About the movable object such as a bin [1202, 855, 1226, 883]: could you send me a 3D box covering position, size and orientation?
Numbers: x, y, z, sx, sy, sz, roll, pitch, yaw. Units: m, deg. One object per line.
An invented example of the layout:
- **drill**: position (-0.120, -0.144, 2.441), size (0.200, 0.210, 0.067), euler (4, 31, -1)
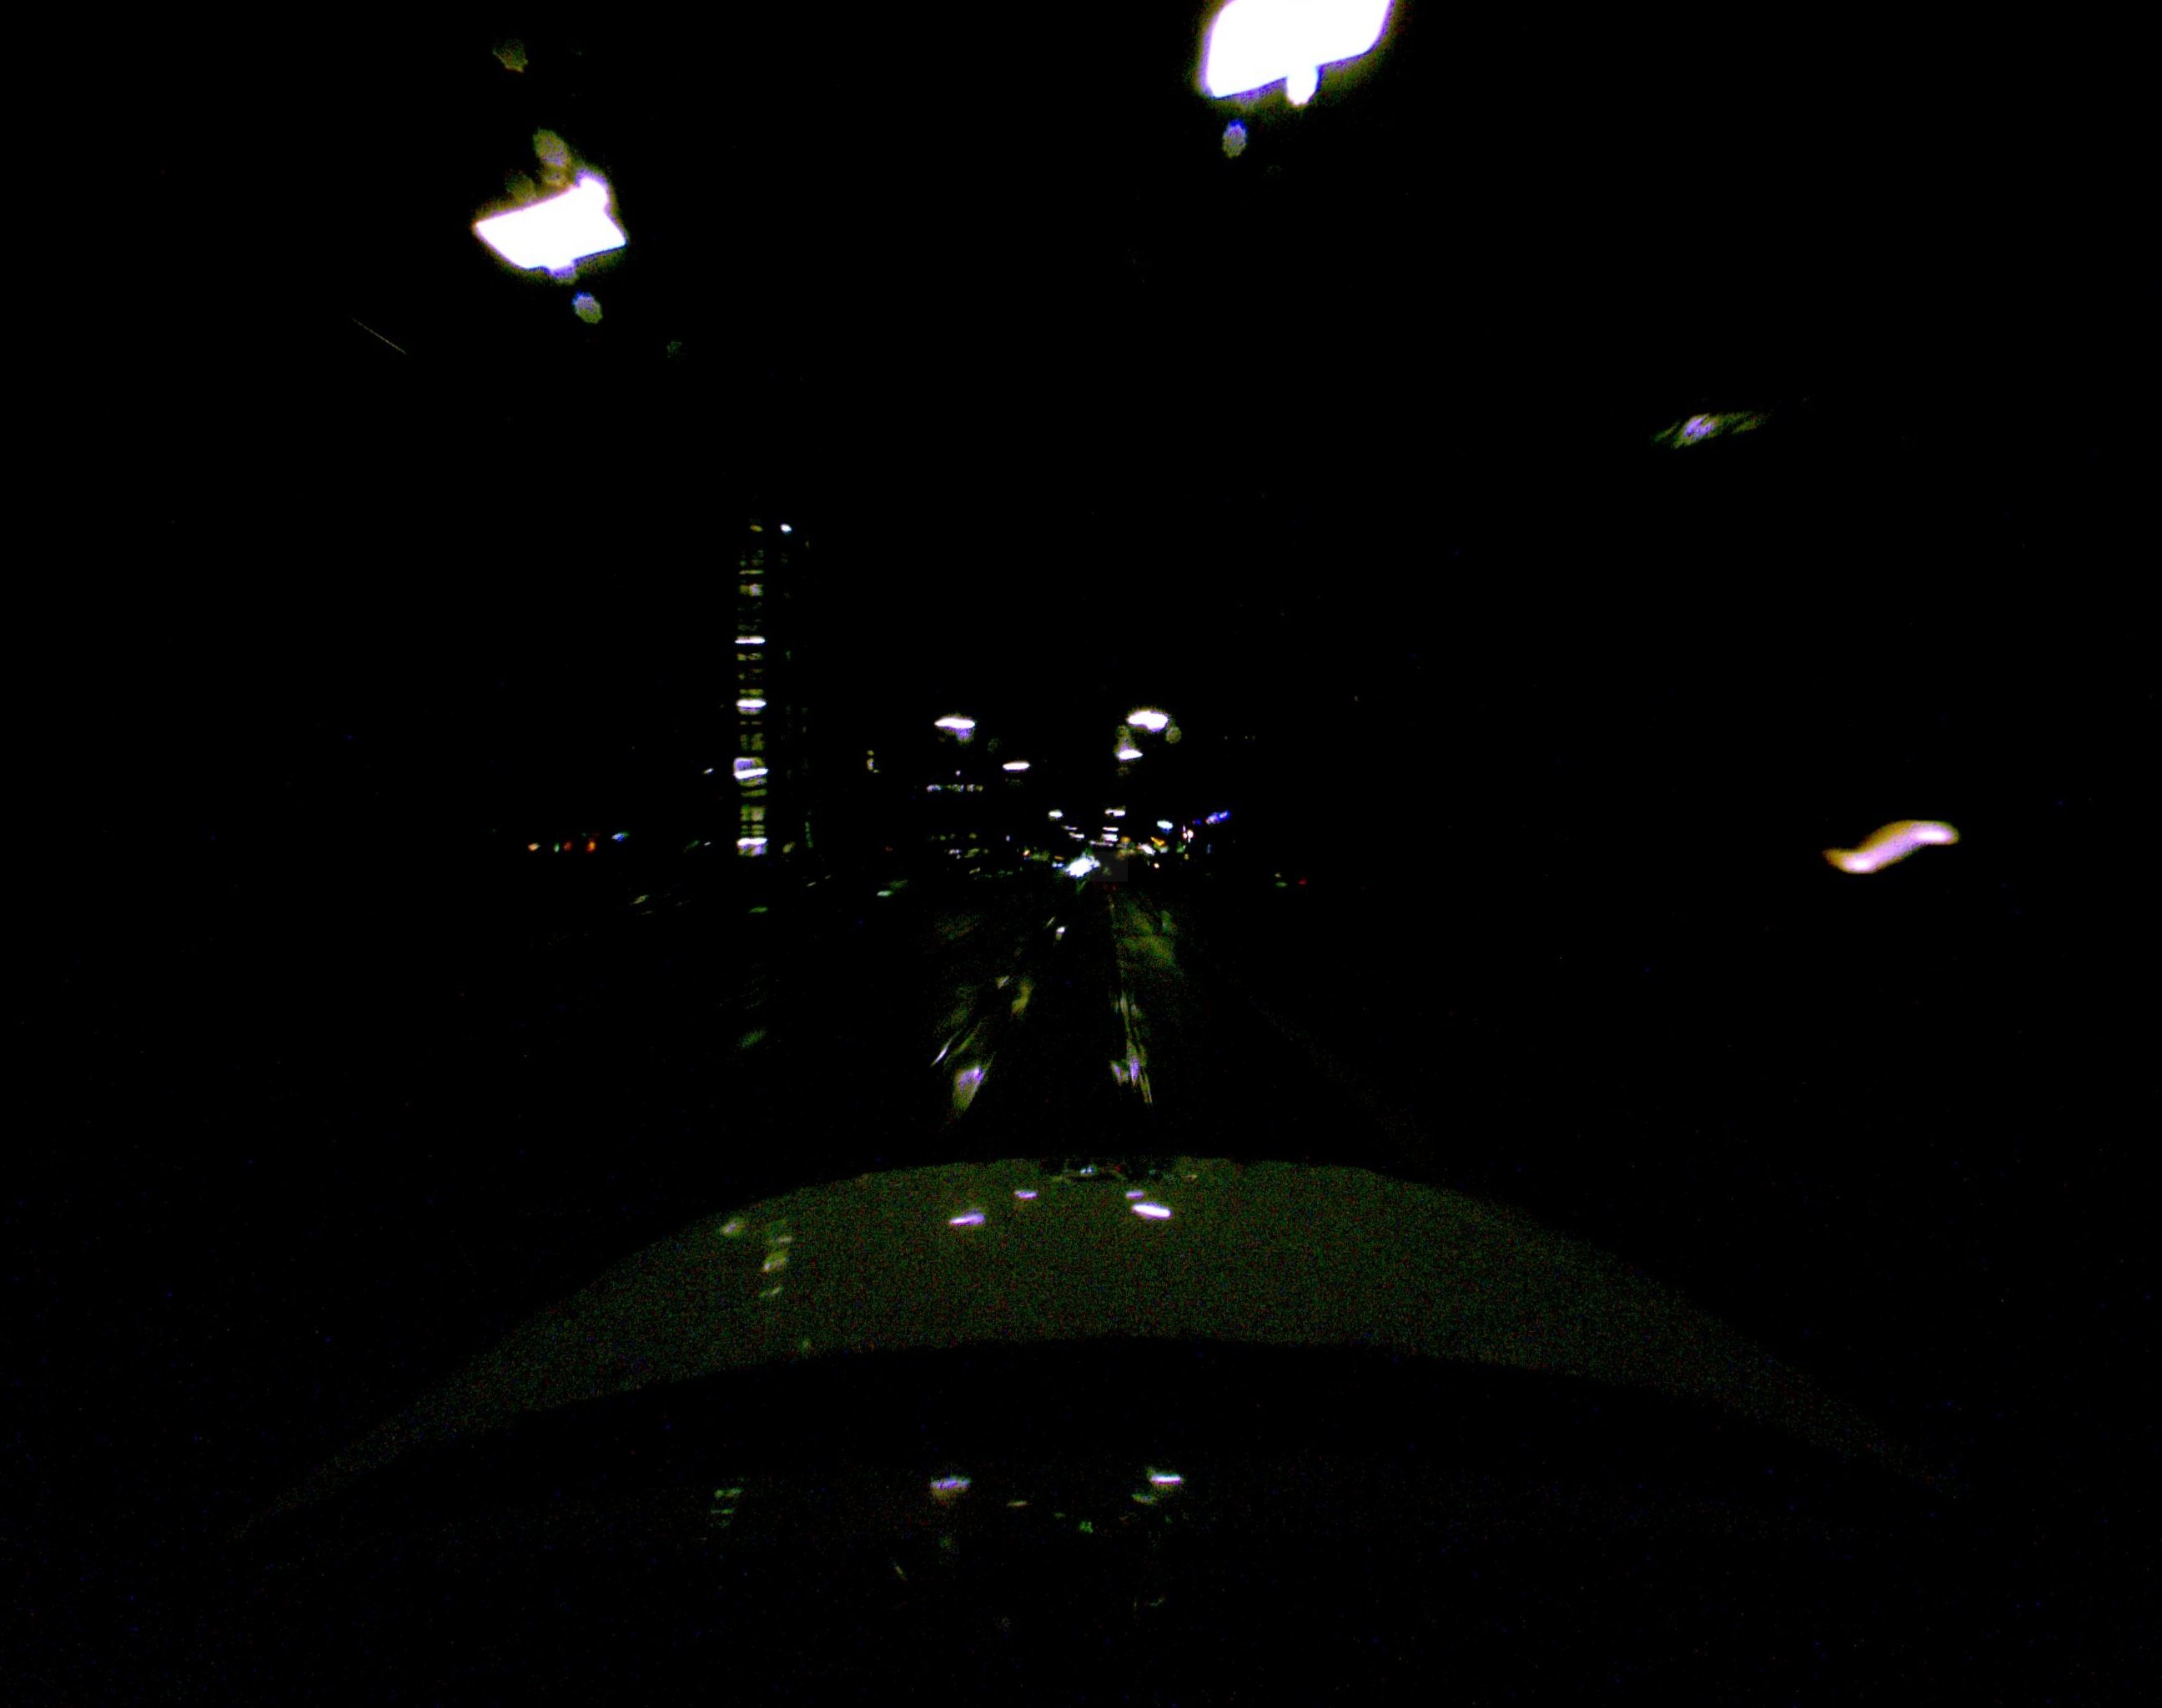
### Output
- **movable object such as a bin**: position (7.215, 0.820, 44.293), size (1.202, 1.422, 1.103), euler (-3, -1, 7)

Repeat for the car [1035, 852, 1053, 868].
- **car**: position (-5.920, 0.918, 131.093), size (2.176, 2.591, 6.398), euler (-1, 0, 4)

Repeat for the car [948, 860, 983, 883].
- **car**: position (-7.814, 1.181, 55.348), size (1.883, 1.463, 4.954), euler (-1, -1, -3)

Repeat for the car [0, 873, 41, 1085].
- **car**: position (-9.048, 0.911, 4.136), size (1.803, 1.579, 4.355), euler (2, 0, 2)

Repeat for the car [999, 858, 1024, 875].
- **car**: position (-6.893, 1.265, 81.284), size (1.976, 1.631, 4.518), euler (-1, -1, 1)

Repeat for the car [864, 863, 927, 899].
- **car**: position (-7.959, 1.120, 35.293), size (1.768, 1.440, 4.604), euler (-1, -1, -2)

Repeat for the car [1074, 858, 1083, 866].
- **car**: position (-0.476, 1.624, 164.447), size (1.769, 1.517, 4.052), euler (-1, 0, 2)

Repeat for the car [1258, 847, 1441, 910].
- **car**: position (7.422, 0.644, 22.540), size (4.598, 1.475, 1.828), euler (-2, 0, -19)

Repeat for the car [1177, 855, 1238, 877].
- **car**: position (9.440, 0.892, 60.865), size (4.111, 1.537, 1.945), euler (0, -1, -24)

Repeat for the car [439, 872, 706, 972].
- **car**: position (-8.685, 1.071, 14.512), size (1.725, 1.438, 4.627), euler (-1, -1, 2)

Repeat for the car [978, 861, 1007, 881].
- **car**: position (-7.281, 1.402, 67.404), size (1.875, 1.545, 4.396), euler (2, -1, -1)

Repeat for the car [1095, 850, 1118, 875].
- **car**: position (2.518, 0.875, 81.662), size (2.237, 2.361, 4.393), euler (-1, -1, 0)

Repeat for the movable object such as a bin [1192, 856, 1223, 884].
- **movable object such as a bin**: position (6.674, 0.859, 43.032), size (1.319, 1.408, 1.158), euler (-2, -1, -4)

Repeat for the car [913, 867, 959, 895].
- **car**: position (-7.930, 1.454, 44.781), size (1.835, 1.423, 4.206), euler (-1, -1, -2)

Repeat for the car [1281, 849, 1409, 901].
- **car**: position (8.673, 0.667, 26.829), size (3.703, 1.518, 1.649), euler (-2, 0, -17)

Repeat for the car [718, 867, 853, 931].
- **car**: position (-8.408, 1.209, 23.702), size (2.136, 1.619, 4.590), euler (2, -1, 1)
